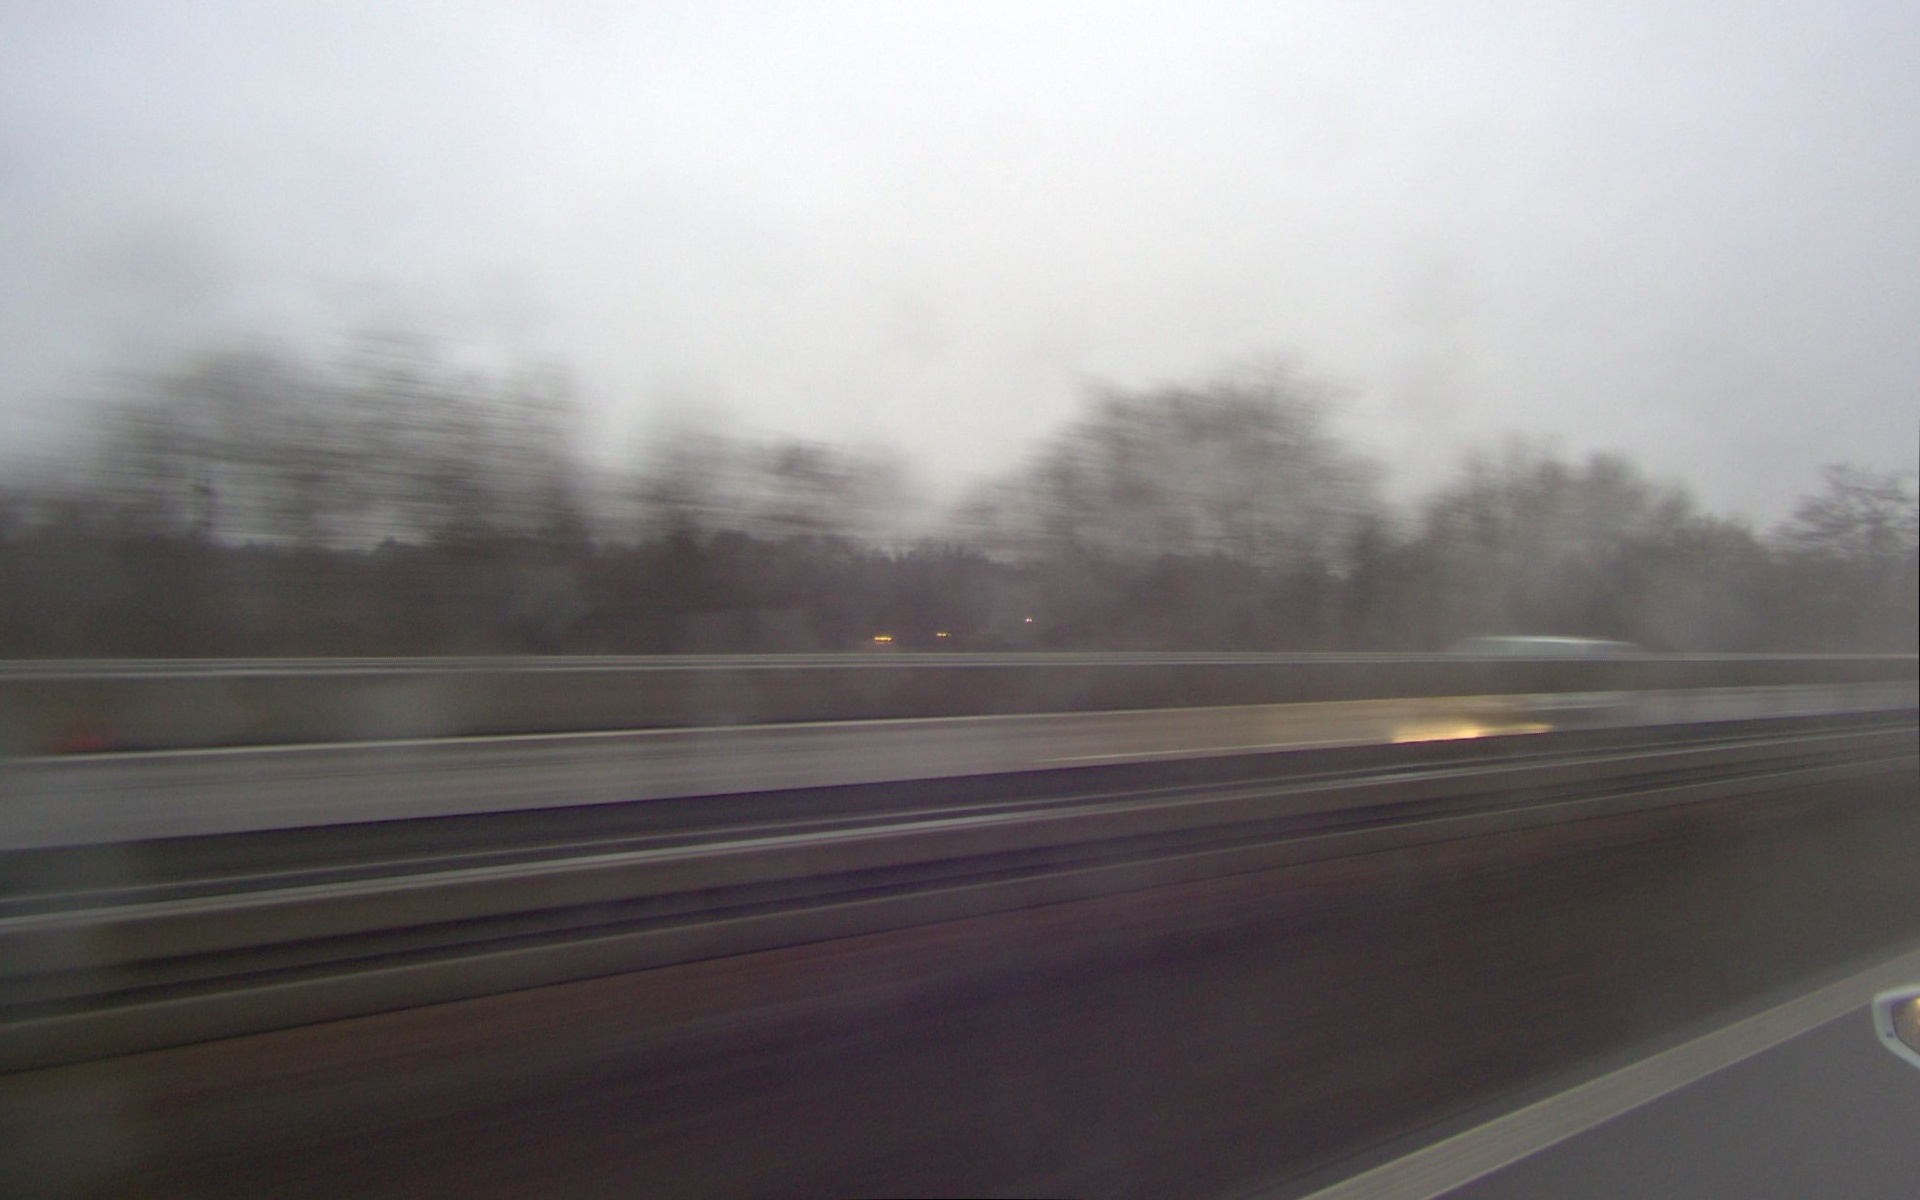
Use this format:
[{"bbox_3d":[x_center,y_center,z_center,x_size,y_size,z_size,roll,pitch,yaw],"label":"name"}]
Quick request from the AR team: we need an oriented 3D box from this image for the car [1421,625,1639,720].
[{"bbox_3d":[10.678,1.300,18.769,3.953,1.442,1.708,2,4,-30],"label":"car"}]
